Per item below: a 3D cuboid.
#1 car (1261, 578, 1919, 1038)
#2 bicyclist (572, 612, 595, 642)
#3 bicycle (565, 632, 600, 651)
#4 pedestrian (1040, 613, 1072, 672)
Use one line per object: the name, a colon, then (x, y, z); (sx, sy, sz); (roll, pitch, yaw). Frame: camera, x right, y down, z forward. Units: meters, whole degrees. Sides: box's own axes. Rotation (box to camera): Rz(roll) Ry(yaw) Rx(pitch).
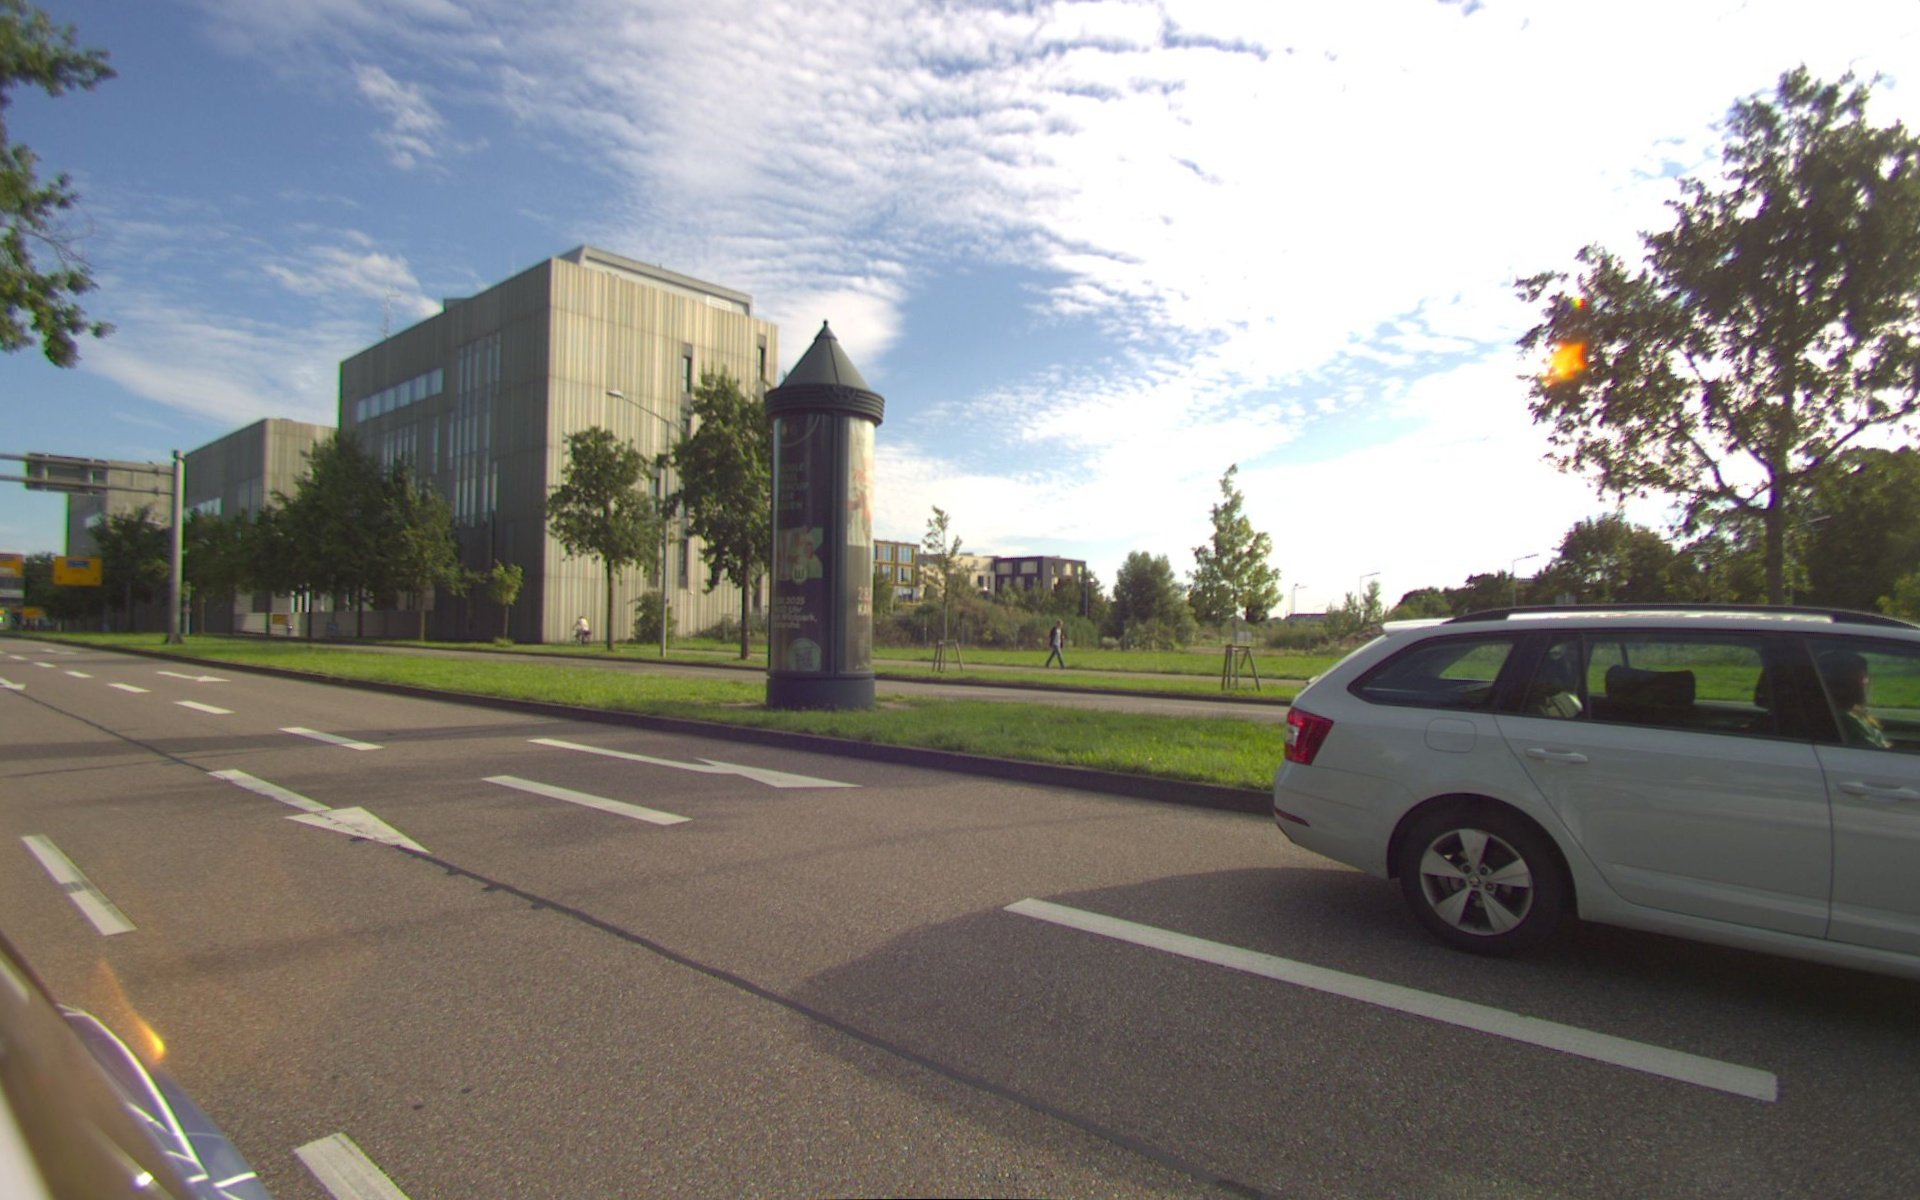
car: (3.669, 0.690, 3.997); (4.479, 1.510, 1.681); (-1, -1, 41)
bicyclist: (-19.577, 1.406, 52.588); (0.989, 1.537, 0.698); (-1, -3, 41)
bicycle: (-19.611, 2.146, 52.619); (1.910, 0.989, 0.885); (-1, -3, 41)
pedestrian: (3.322, 1.458, 34.884); (0.867, 2.029, 0.667); (-1, -3, 41)
